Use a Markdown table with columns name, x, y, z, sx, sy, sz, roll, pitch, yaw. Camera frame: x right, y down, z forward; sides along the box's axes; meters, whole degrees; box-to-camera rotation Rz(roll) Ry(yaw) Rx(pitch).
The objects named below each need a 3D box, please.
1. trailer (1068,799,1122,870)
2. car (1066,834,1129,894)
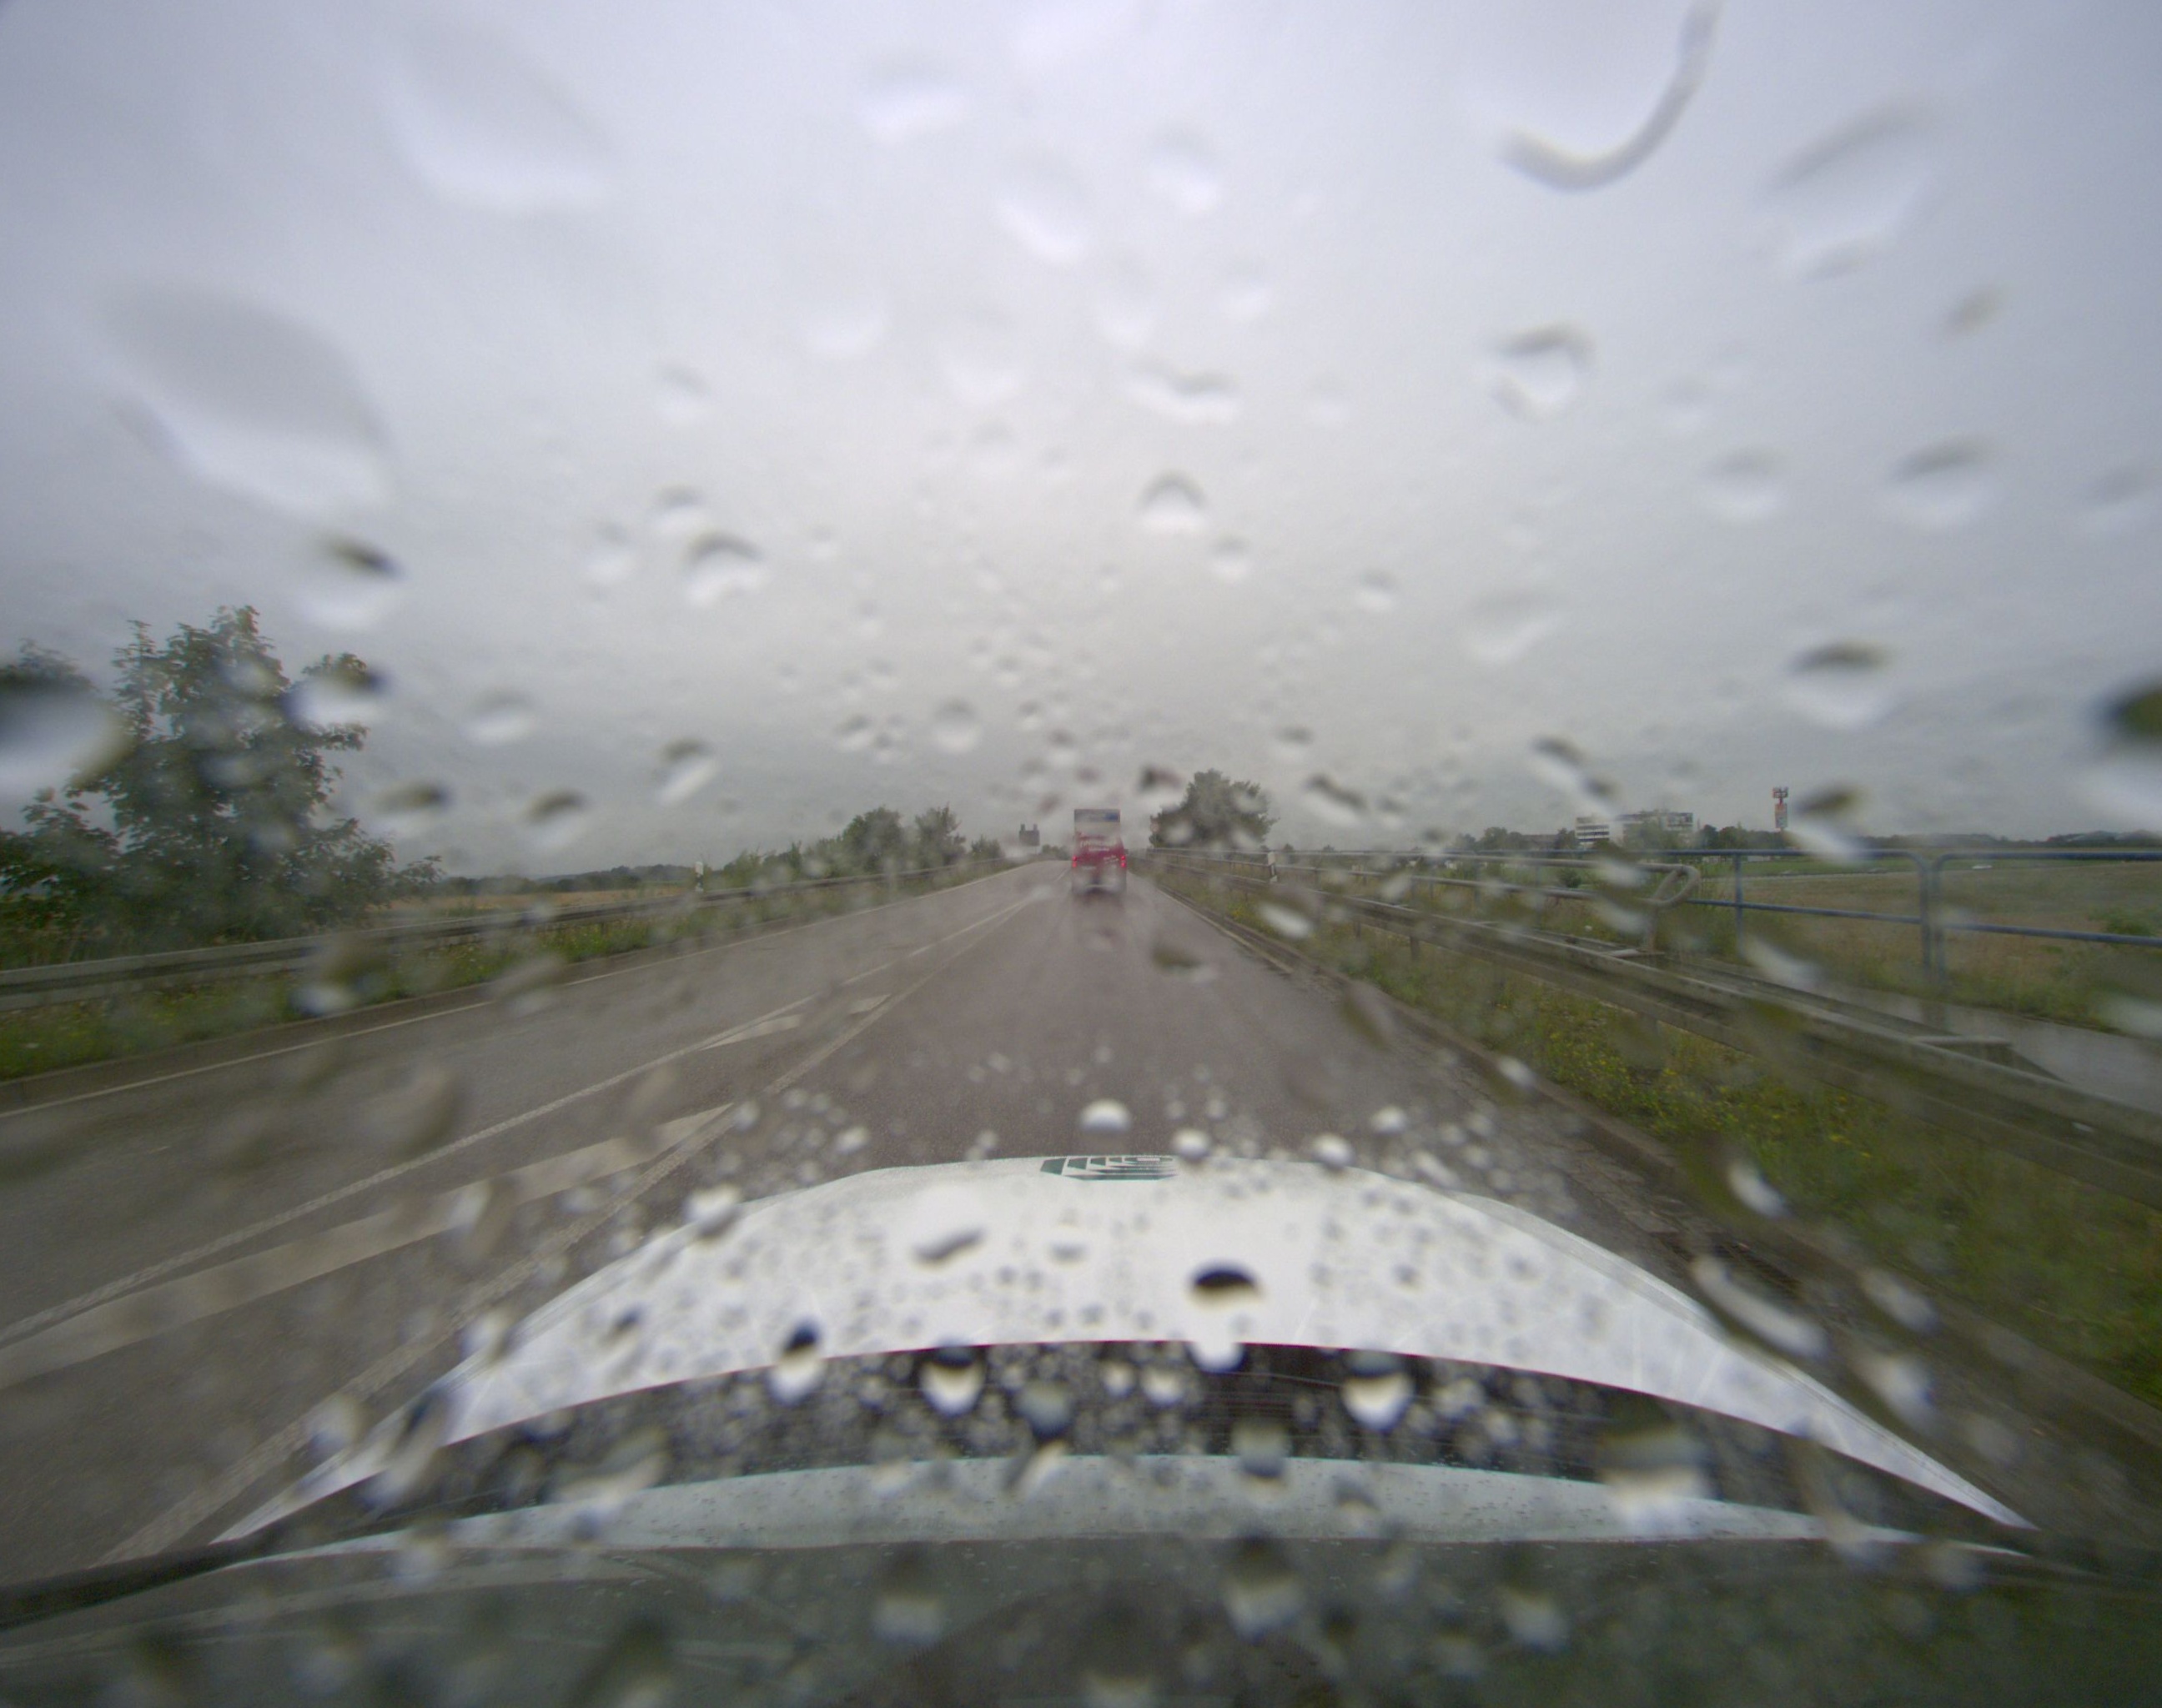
| name | x | y | z | sx | sy | sz | roll | pitch | yaw |
| --- | --- | --- | --- | --- | --- | --- | --- | --- | --- |
| trailer | 0.941 | -1.043 | 49.344 | 2.821 | 3.819 | 9.719 | -2 | 0 | 2 |
| car | 0.620 | 0.325 | 29.014 | 1.986 | 1.870 | 4.980 | -2 | 0 | 2 |
